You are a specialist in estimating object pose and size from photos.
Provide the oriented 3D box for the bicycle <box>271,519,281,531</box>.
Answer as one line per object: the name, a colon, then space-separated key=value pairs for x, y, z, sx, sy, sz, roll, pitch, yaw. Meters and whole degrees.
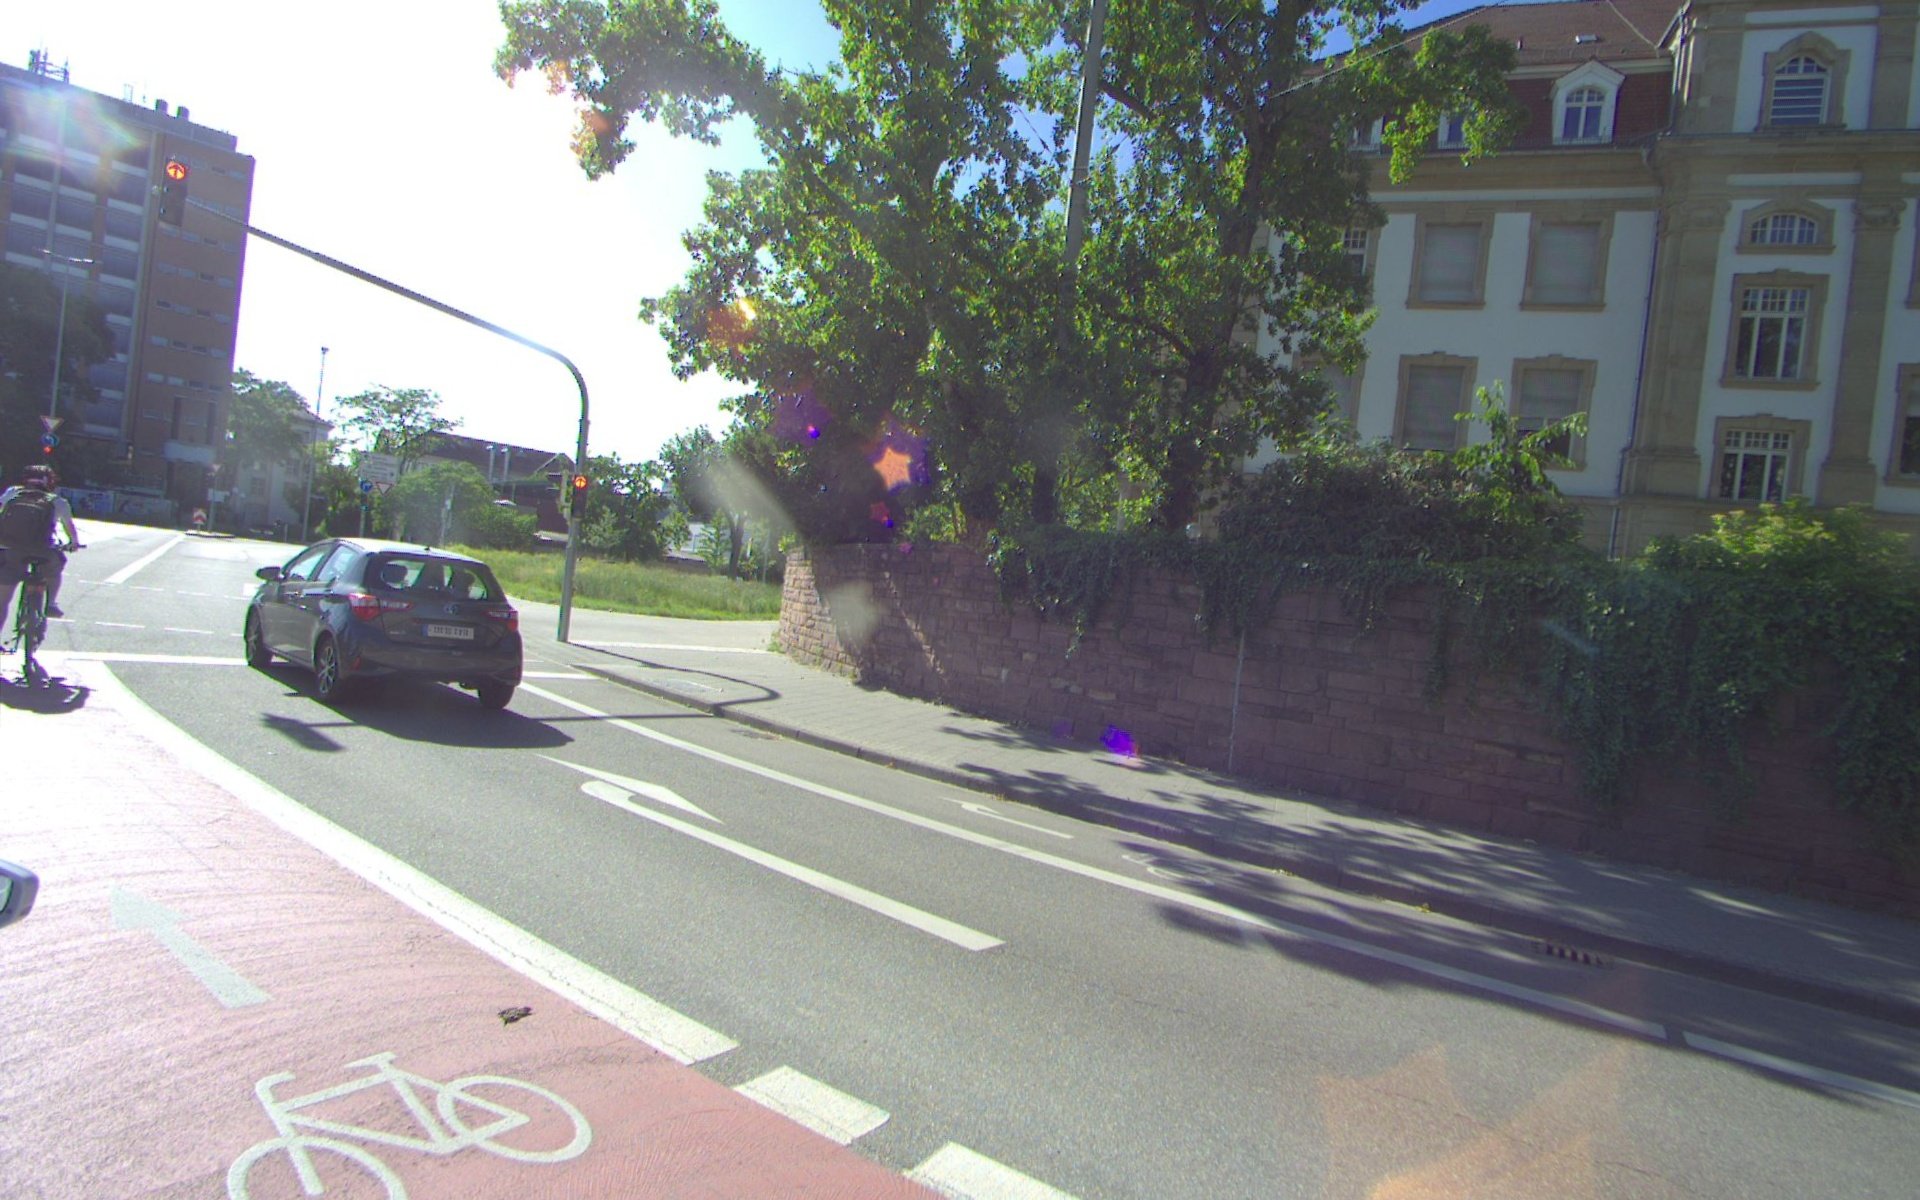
bicycle: x=-68.853 y=-7.570 z=101.285 sx=0.603 sy=1.106 sz=1.660 roll=6 pitch=1 yaw=-27

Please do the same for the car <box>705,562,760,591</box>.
car: x=-20.361 y=-2.057 z=90.123 sx=4.309 sy=2.037 sz=1.988 roll=7 pitch=-2 yaw=-26

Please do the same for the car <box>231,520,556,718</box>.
car: x=-5.963 y=0.145 z=10.430 sx=3.608 sy=1.560 sz=1.754 roll=7 pitch=-1 yaw=42

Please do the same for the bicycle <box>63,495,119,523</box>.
bicycle: x=-62.726 y=-6.546 z=72.649 sx=2.784 sy=1.559 sz=0.877 roll=8 pitch=-2 yaw=-34

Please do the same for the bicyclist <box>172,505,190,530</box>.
bicyclist: x=-59.589 y=-6.289 z=76.918 sx=0.852 sy=1.712 sz=0.877 roll=7 pitch=-1 yaw=-33

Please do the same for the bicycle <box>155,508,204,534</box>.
bicycle: x=-59.627 y=-6.028 z=76.920 sx=2.784 sy=1.559 sz=0.877 roll=8 pitch=-2 yaw=-34

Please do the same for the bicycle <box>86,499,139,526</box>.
bicycle: x=-63.252 y=-6.516 z=75.106 sx=2.784 sy=1.559 sz=0.877 roll=8 pitch=-2 yaw=-34

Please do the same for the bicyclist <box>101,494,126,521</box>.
bicyclist: x=-63.202 y=-6.907 z=75.109 sx=1.149 sy=1.818 sz=0.877 roll=7 pitch=-1 yaw=-33

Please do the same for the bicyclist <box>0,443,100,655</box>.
bicyclist: x=-7.895 y=-0.436 z=8.521 sx=0.720 sy=1.645 sz=1.042 roll=8 pitch=0 yaw=-44

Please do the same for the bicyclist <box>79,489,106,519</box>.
bicyclist: x=-62.667 y=-6.943 z=72.648 sx=1.199 sy=1.919 sz=0.877 roll=7 pitch=-1 yaw=-33

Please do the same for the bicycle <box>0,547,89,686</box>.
bicycle: x=-7.987 y=0.098 z=8.545 sx=0.721 sy=0.971 sz=1.860 roll=8 pitch=-1 yaw=-44
